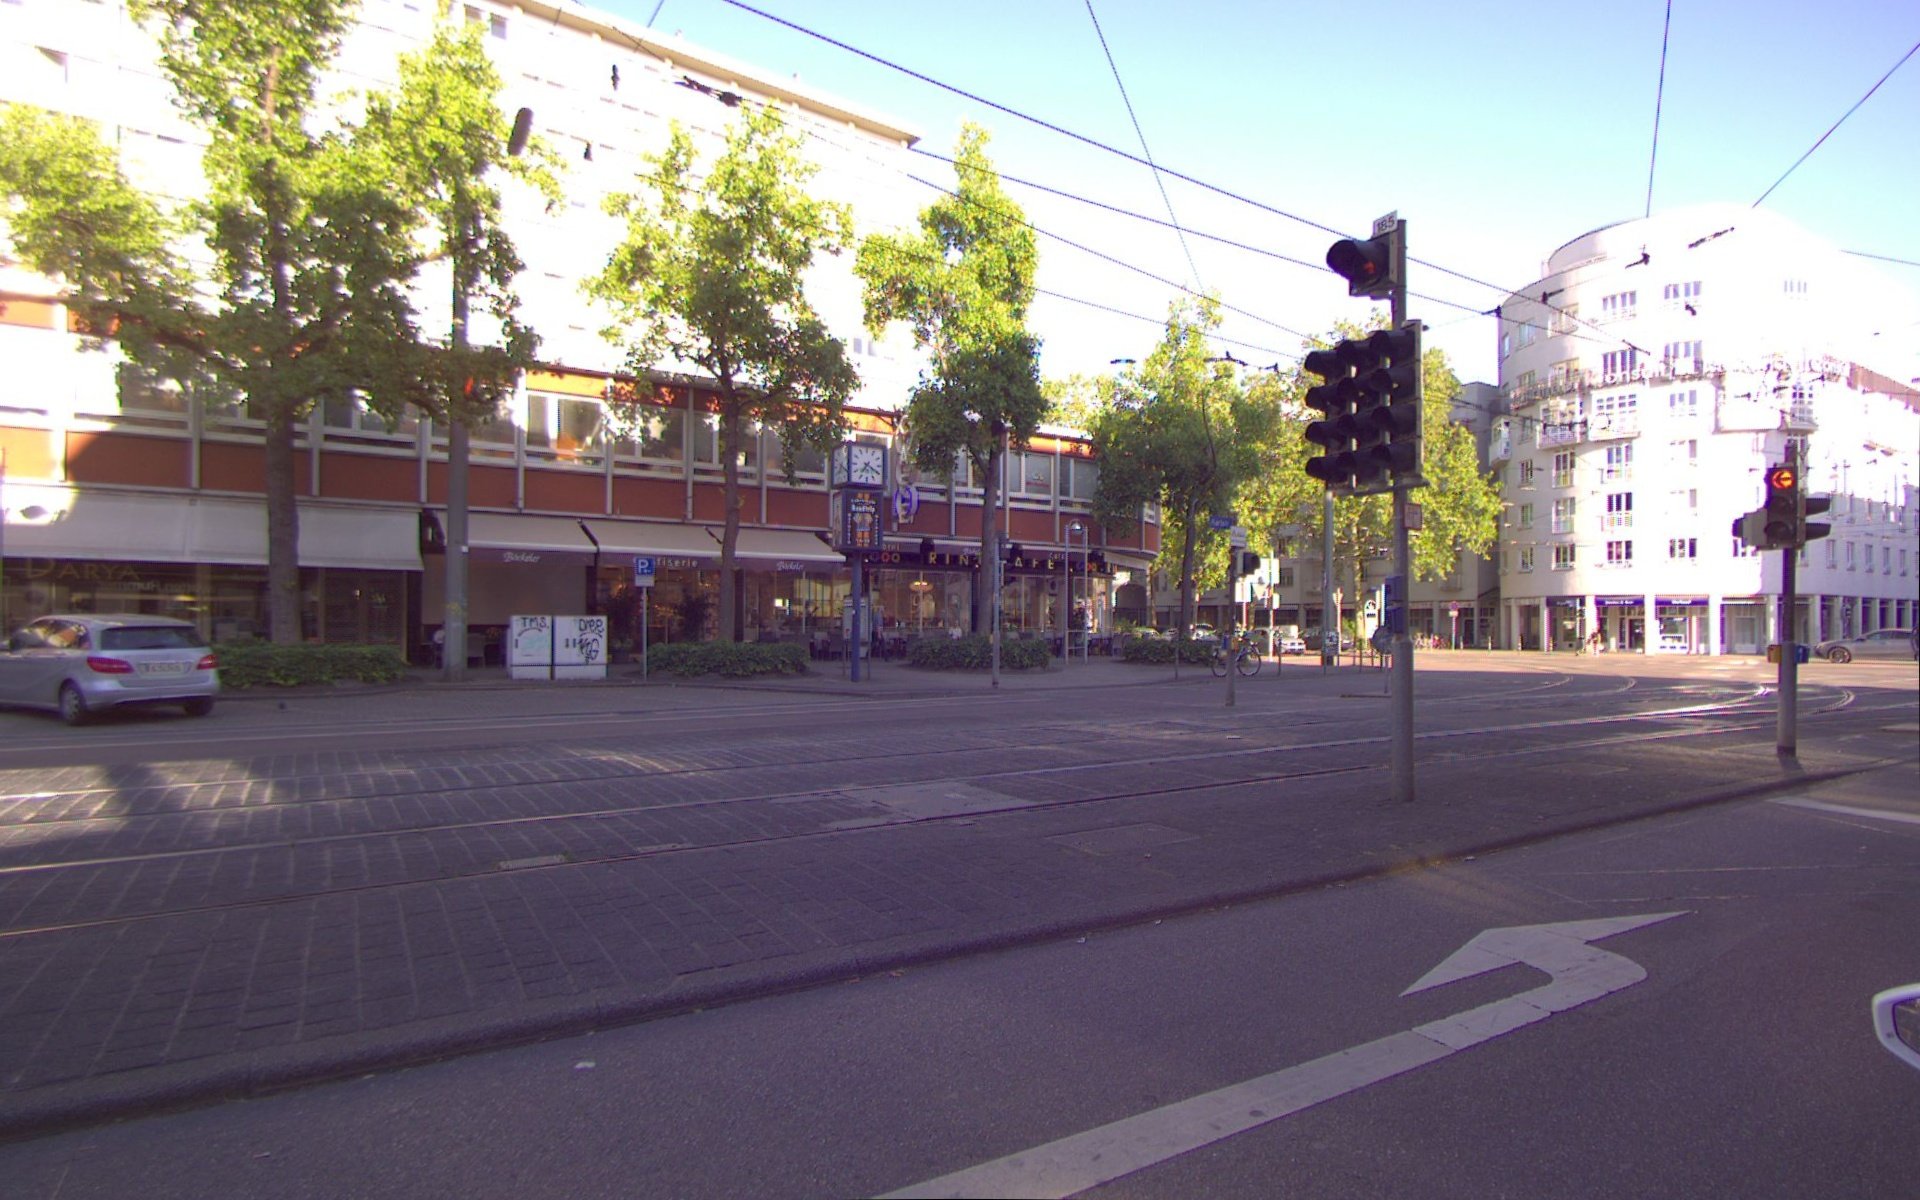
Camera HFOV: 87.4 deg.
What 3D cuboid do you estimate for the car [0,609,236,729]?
[{"bbox_3d":[-13.516,0.987,15.685,4.200,1.587,1.825,1,-1,26],"label":"car"}]

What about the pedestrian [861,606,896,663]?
[{"bbox_3d":[-2.560,1.079,31.514,0.866,1.745,0.700,0,1,-34],"label":"pedestrian"}]

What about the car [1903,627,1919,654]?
[{"bbox_3d":[58.427,2.434,60.337,3.423,1.566,1.756,1,-2,-32],"label":"car"}]

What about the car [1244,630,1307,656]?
[{"bbox_3d":[16.813,2.288,53.701,1.738,1.312,4.014,0,-2,-7],"label":"car"}]

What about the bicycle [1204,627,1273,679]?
[{"bbox_3d":[7.647,1.432,27.548,1.884,1.345,0.667,1,2,-30],"label":"bicycle"}]

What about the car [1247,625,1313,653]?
[{"bbox_3d":[18.676,2.276,58.814,1.605,1.579,4.001,0,-2,-19],"label":"car"}]

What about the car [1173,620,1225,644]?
[{"bbox_3d":[19.856,2.659,83.417,3.954,1.990,1.984,1,-1,-31],"label":"car"}]

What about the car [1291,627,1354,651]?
[{"bbox_3d":[24.106,2.584,66.931,1.595,1.551,3.972,0,-1,-27],"label":"car"}]

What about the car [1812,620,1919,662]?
[{"bbox_3d":[38.463,1.679,41.795,1.691,1.662,4.405,1,-2,-41],"label":"car"}]

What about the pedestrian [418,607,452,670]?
[{"bbox_3d":[-13.555,0.985,25.925,0.699,1.584,0.867,1,-1,-33],"label":"pedestrian"}]

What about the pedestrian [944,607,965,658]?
[{"bbox_3d":[-0.198,1.116,34.976,0.590,1.745,0.647,0,1,-14],"label":"pedestrian"}]

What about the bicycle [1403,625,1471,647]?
[{"bbox_3d":[33.920,2.548,71.593,1.053,1.550,4.684,1,-2,-29],"label":"bicycle"}]

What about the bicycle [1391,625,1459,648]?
[{"bbox_3d":[32.890,2.542,71.129,1.053,1.550,4.684,1,-2,-29],"label":"bicycle"}]

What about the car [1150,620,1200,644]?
[{"bbox_3d":[18.375,2.697,85.928,3.954,1.990,1.984,1,-1,-31],"label":"car"}]

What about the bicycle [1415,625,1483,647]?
[{"bbox_3d":[35.213,2.587,72.421,1.053,1.550,4.684,1,-2,-29],"label":"bicycle"}]

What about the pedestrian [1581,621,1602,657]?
[{"bbox_3d":[36.151,2.232,57.505,0.930,2.040,0.939,0,-1,30],"label":"pedestrian"}]
